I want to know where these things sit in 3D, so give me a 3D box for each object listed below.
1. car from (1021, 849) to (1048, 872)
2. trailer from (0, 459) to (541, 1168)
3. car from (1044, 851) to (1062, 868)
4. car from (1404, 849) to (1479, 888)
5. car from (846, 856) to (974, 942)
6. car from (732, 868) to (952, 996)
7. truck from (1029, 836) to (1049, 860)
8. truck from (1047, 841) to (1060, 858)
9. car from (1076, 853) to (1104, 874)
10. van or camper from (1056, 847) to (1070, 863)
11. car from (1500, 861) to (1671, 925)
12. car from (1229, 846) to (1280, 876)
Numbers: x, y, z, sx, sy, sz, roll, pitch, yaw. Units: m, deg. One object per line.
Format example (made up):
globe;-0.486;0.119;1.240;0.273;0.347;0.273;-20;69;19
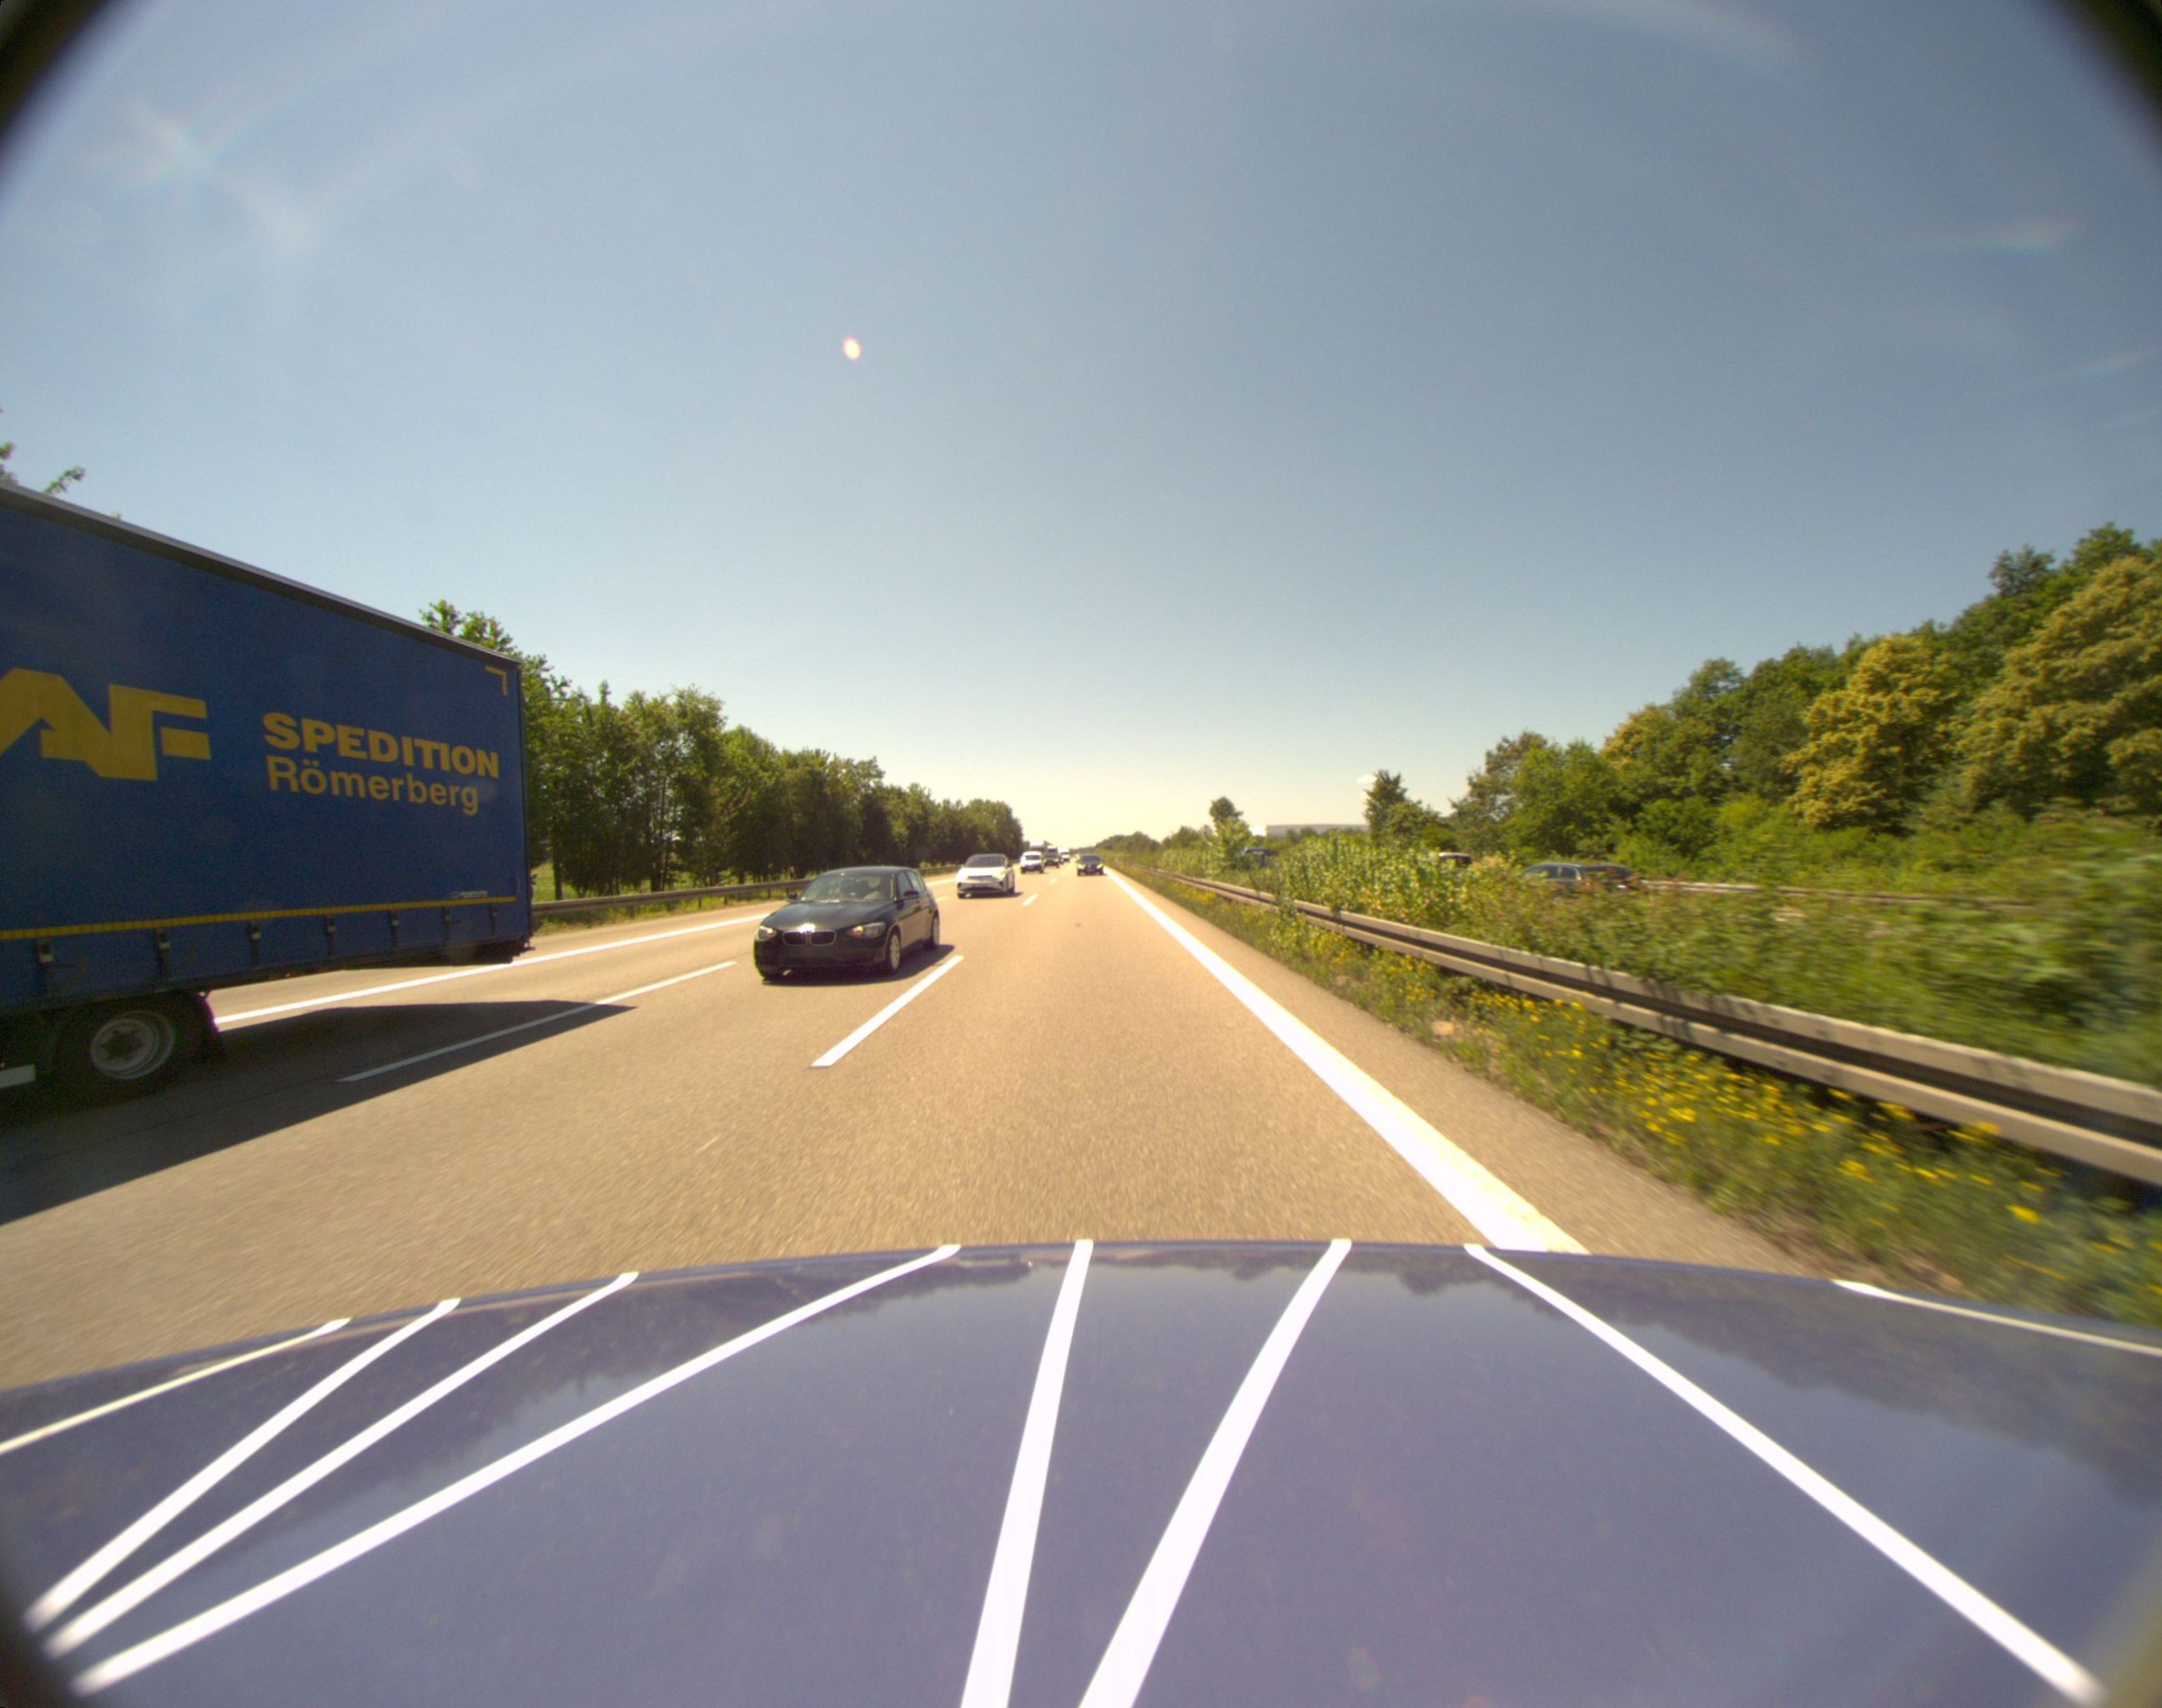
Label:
car;-3.851;0.500;63.705;1.887;1.861;4.467;-1;0;1
trailer;-7.781;-0.218;3.422;2.797;4.180;10.806;-1;0;1
car;-3.158;0.588;86.310;1.887;1.861;4.467;-1;0;1
car;16.801;0.634;35.586;1.798;1.746;3.625;0;1;1
car;-3.667;0.894;17.004;1.887;1.634;4.000;-1;0;1
car;-3.283;0.998;11.489;1.841;1.409;4.497;-1;0;1
truck;-7.408;-1.038;136.062;2.797;4.180;10.806;-1;0;1
truck;-7.205;-1.146;199.841;2.797;4.180;10.806;-1;0;1
car;0.632;0.648;53.658;1.887;1.341;4.467;-1;0;1
van or camper;-3.216;0.168;138.232;2.198;2.796;6.999;-1;0;1
car;12.753;0.925;19.554;1.798;1.420;4.000;0;0;1
car;9.651;0.362;42.551;1.955;1.641;4.000;0;1;1
